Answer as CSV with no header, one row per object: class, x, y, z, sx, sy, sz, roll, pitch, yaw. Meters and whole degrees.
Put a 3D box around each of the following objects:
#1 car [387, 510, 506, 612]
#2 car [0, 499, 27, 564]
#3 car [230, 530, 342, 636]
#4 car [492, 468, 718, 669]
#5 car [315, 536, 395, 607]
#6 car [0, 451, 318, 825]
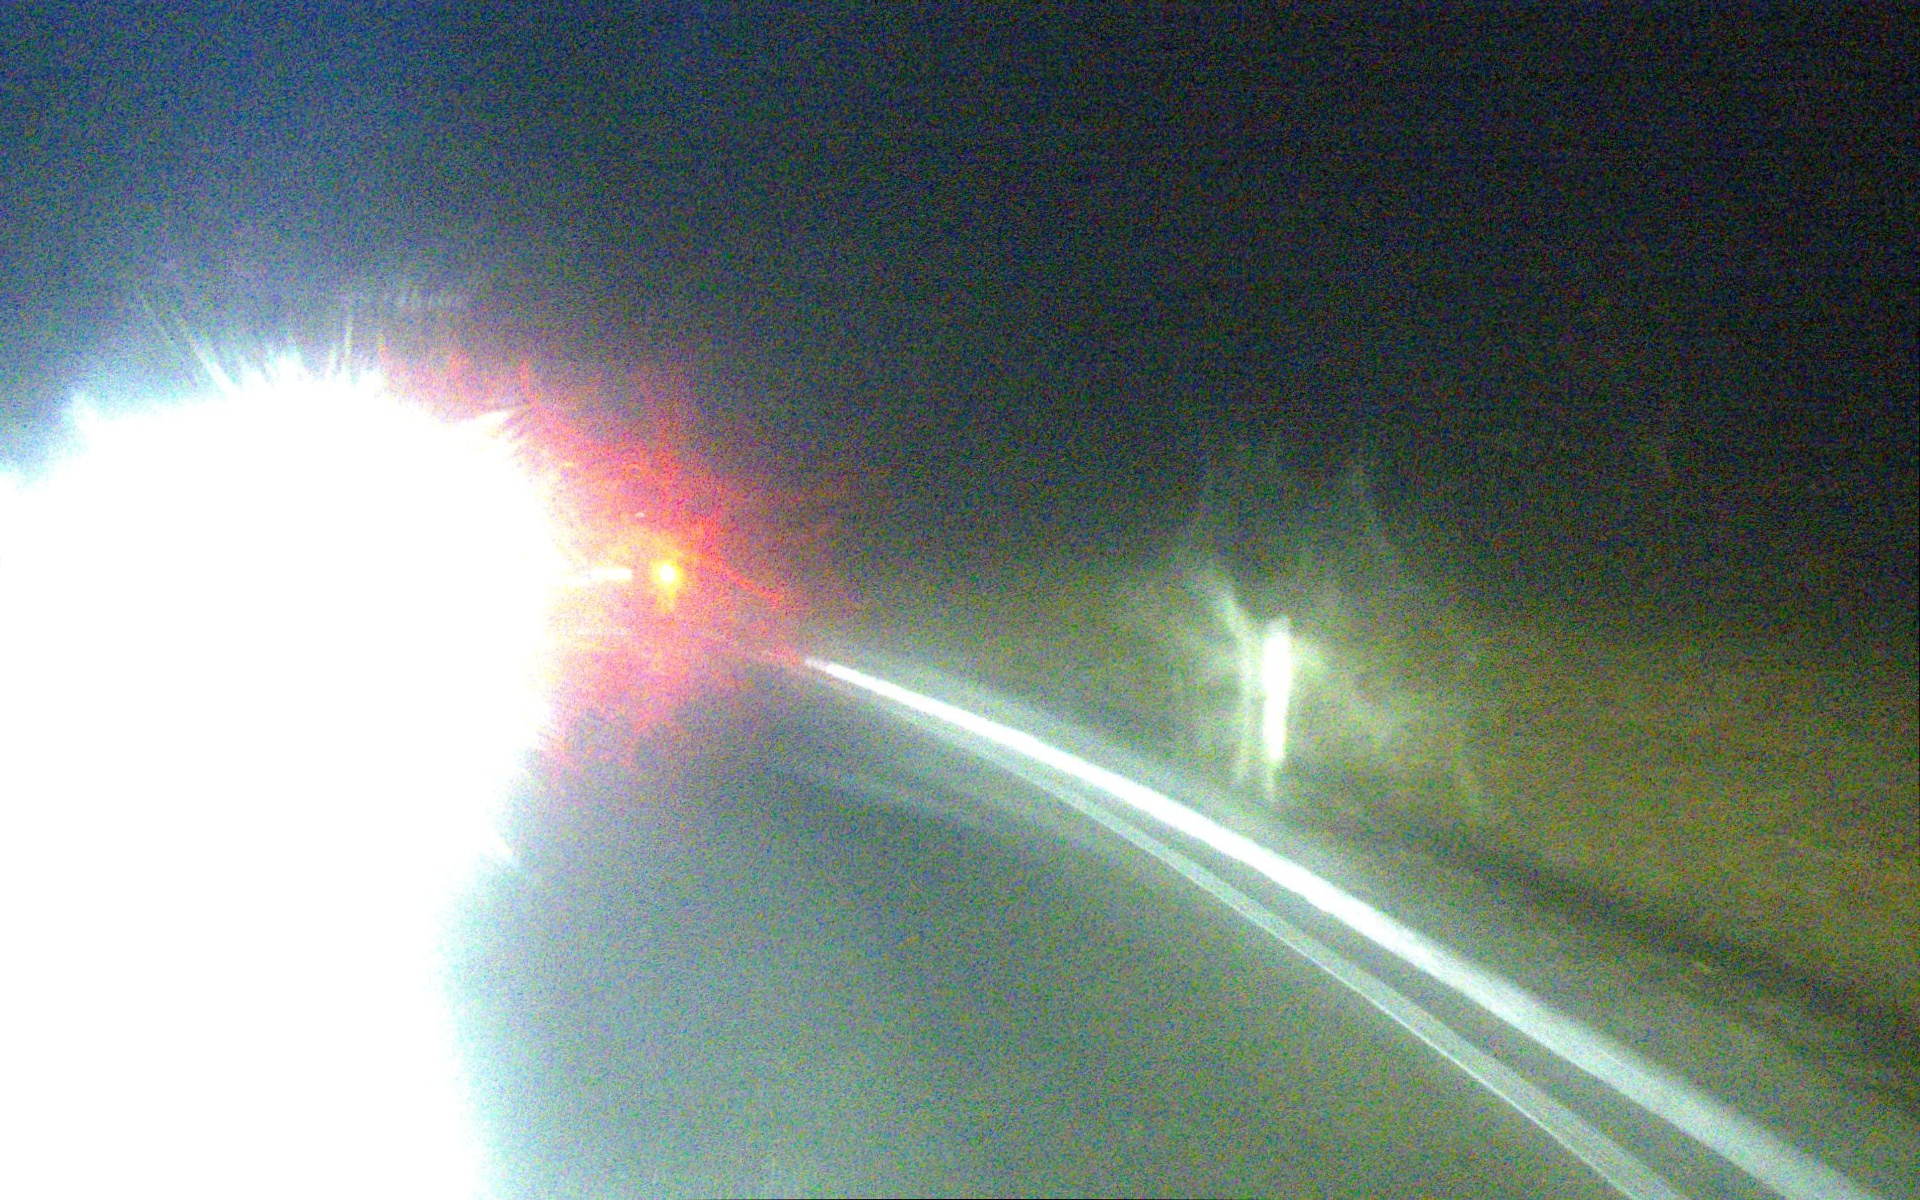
car,-10.758,-0.795,71.875,1.993,2.007,4.001,2,0,-14
car,-28.292,-1.858,94.655,4.910,1.728,2.001,-1,3,-17
car,-10.742,-0.301,55.003,1.635,1.504,4.097,-2,3,-10
car,-4.973,-0.516,47.381,2.538,2.489,5.717,-1,3,-11
car,-15.540,-0.722,88.173,1.740,1.708,3.701,2,0,-14
car,-5.196,0.168,21.186,1.993,2.007,4.846,2,1,-6
